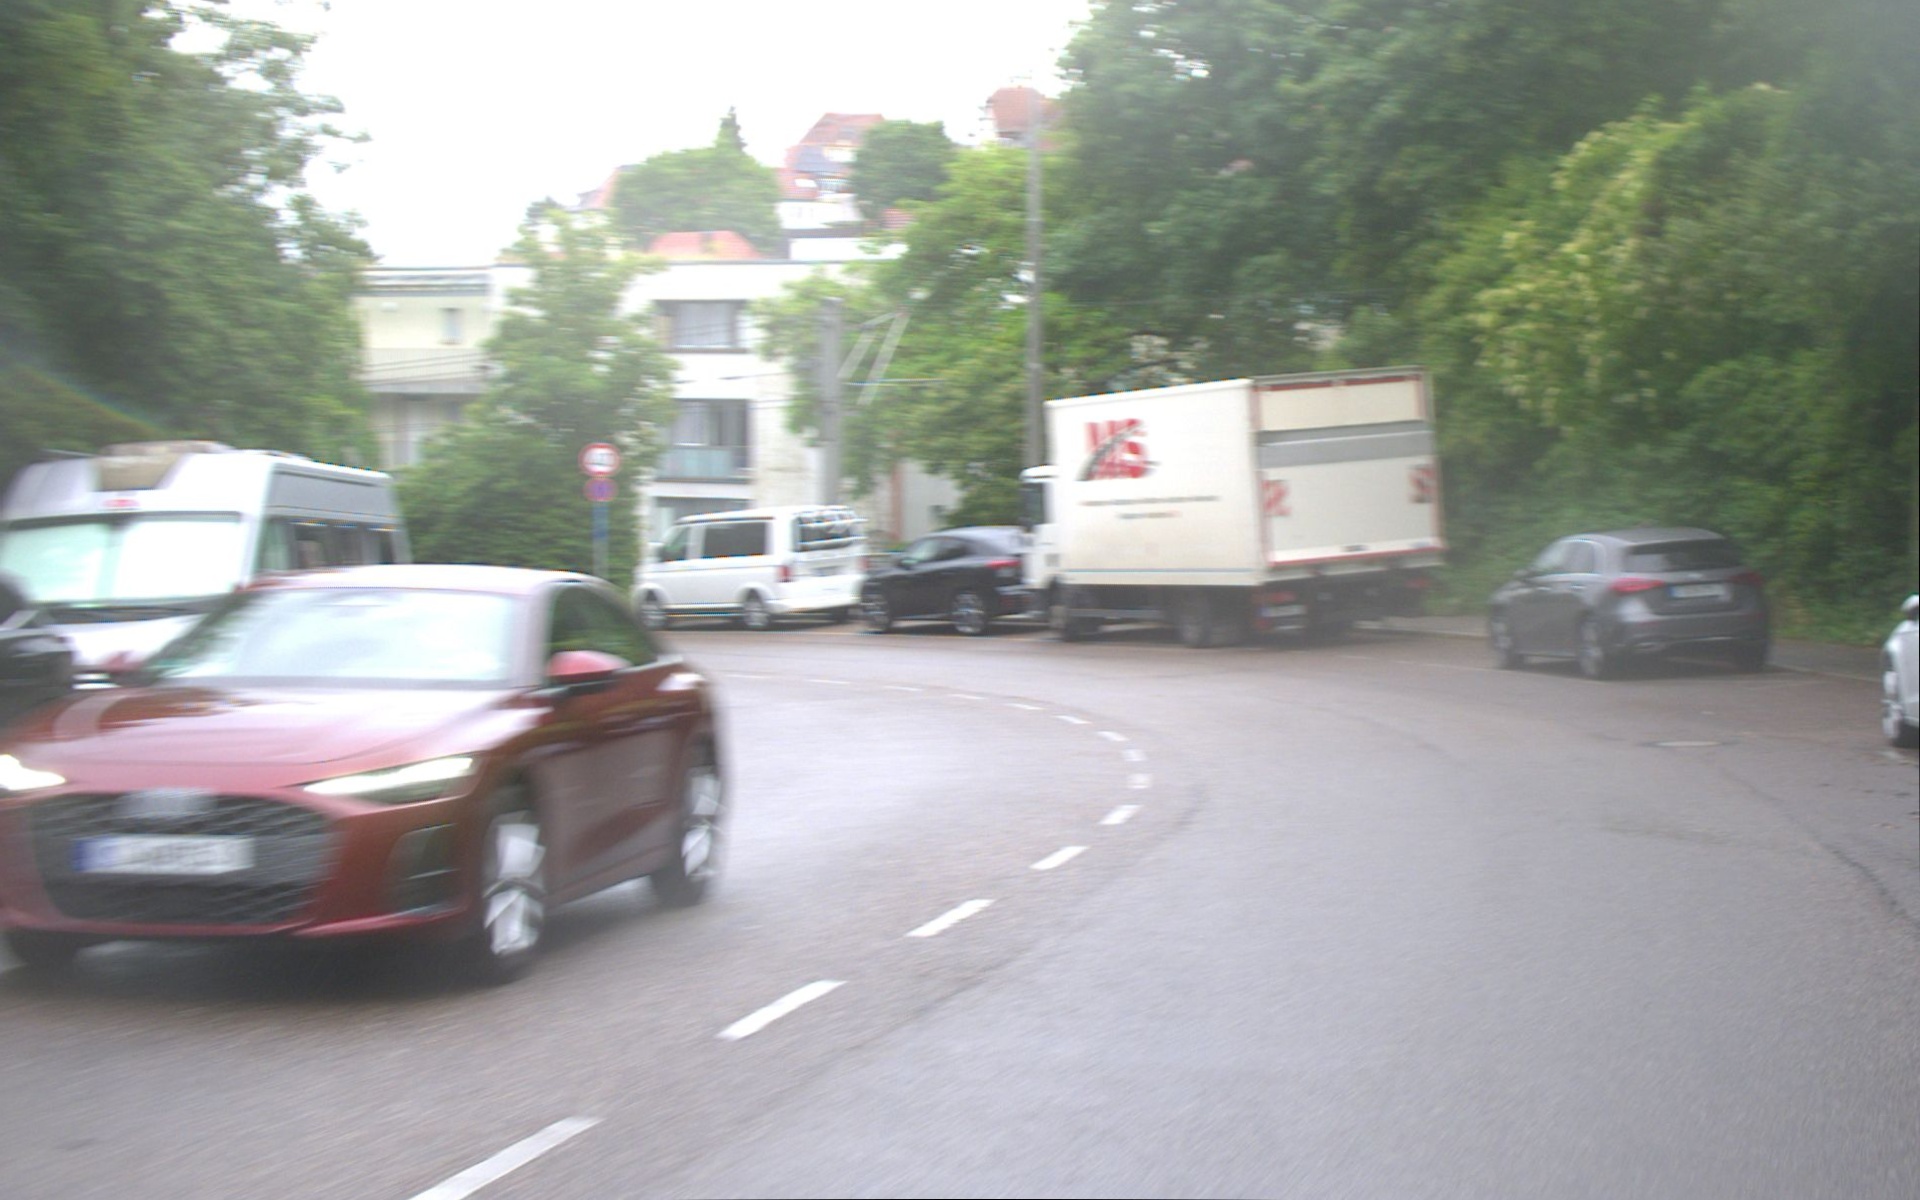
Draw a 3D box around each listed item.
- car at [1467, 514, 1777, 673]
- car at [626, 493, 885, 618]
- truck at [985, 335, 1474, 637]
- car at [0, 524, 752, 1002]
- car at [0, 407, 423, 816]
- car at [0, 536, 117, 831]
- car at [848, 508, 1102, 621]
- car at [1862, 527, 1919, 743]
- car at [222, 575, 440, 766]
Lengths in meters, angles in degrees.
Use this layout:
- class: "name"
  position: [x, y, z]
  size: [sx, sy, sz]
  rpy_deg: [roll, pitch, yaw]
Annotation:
- class: "car"
  position: [6.675, -0.114, 35.101]
  size: [1.720, 1.439, 4.126]
  rpy_deg: [-3, 2, -10]
- class: "car"
  position: [-3.508, -0.732, 58.282]
  size: [1.877, 2.007, 4.689]
  rpy_deg: [-2, 1, -40]
- class: "truck"
  position: [3.404, -1.444, 46.423]
  size: [3.007, 3.561, 8.338]
  rpy_deg: [-5, 2, -21]
- class: "car"
  position: [-2.202, 0.534, 13.320]
  size: [1.868, 1.511, 4.482]
  rpy_deg: [-1, 0, 9]
- class: "car"
  position: [-5.539, 0.034, 24.932]
  size: [2.074, 2.541, 6.347]
  rpy_deg: [-2, 1, 2]
- class: "car"
  position: [-6.382, 0.446, 18.256]
  size: [1.994, 1.614, 4.394]
  rpy_deg: [0, -1, 12]
- class: "car"
  position: [0.181, -0.542, 53.018]
  size: [1.719, 1.550, 4.276]
  rpy_deg: [-6, 3, -33]
- class: "car"
  position: [7.177, 0.234, 22.508]
  size: [1.755, 1.395, 4.095]
  rpy_deg: [0, 2, 5]
- class: "car"
  position: [-5.862, 0.639, 32.233]
  size: [1.803, 1.577, 4.026]
  rpy_deg: [-3, 0, -10]
